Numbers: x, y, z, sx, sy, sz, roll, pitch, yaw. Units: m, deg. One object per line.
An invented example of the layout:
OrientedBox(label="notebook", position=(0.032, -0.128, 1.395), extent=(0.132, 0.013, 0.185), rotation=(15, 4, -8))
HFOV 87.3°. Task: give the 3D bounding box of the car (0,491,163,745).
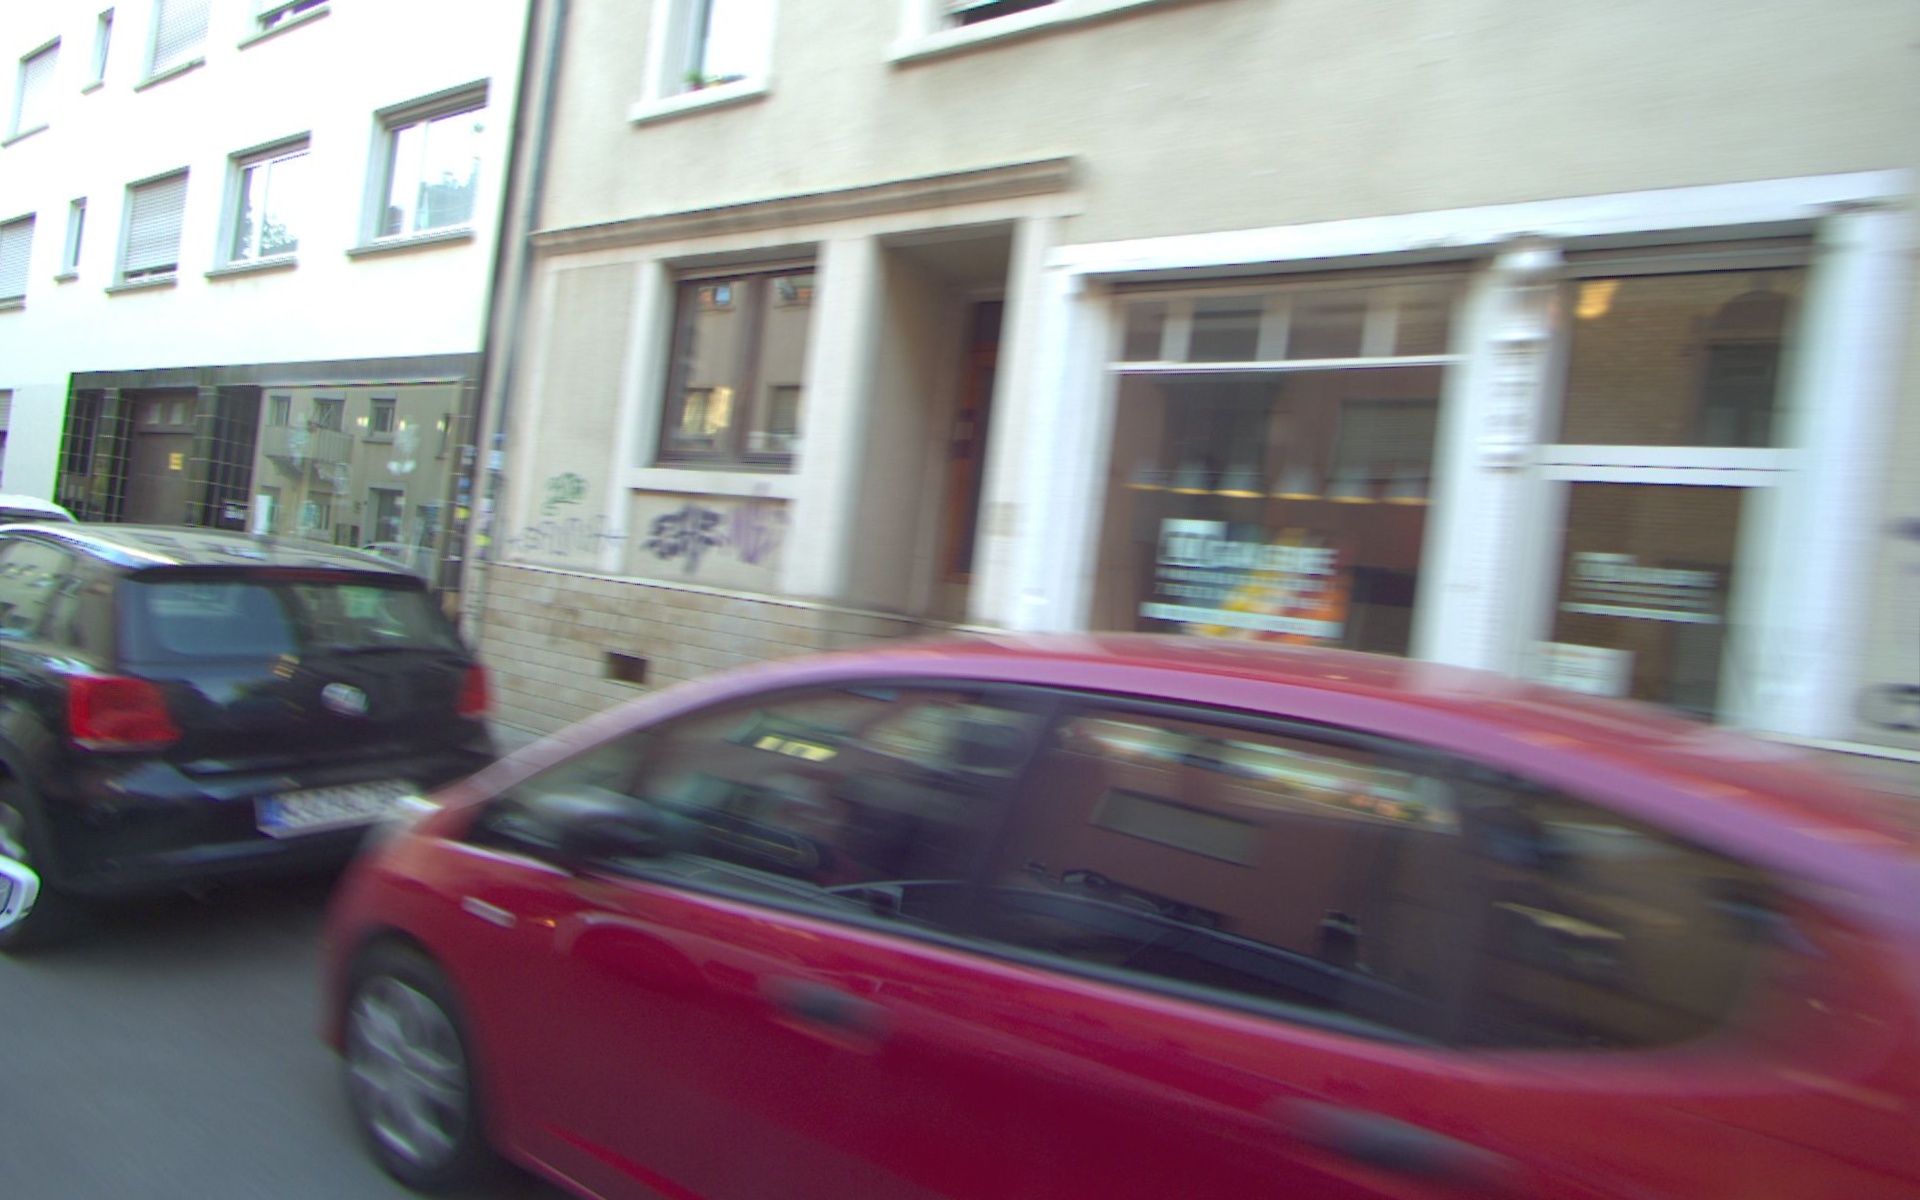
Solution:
OrientedBox(label="car", position=(-7.483, -0.076, 7.044), extent=(3.872, 1.526, 1.677), rotation=(7, 1, 31))

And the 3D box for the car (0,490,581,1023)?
OrientedBox(label="car", position=(-3.800, 0.343, 4.690), extent=(3.872, 1.526, 1.677), rotation=(7, 1, 31))

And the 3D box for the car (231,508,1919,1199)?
OrientedBox(label="car", position=(0.213, 0.769, 2.375), extent=(4.115, 1.526, 1.600), rotation=(7, 1, 31))
